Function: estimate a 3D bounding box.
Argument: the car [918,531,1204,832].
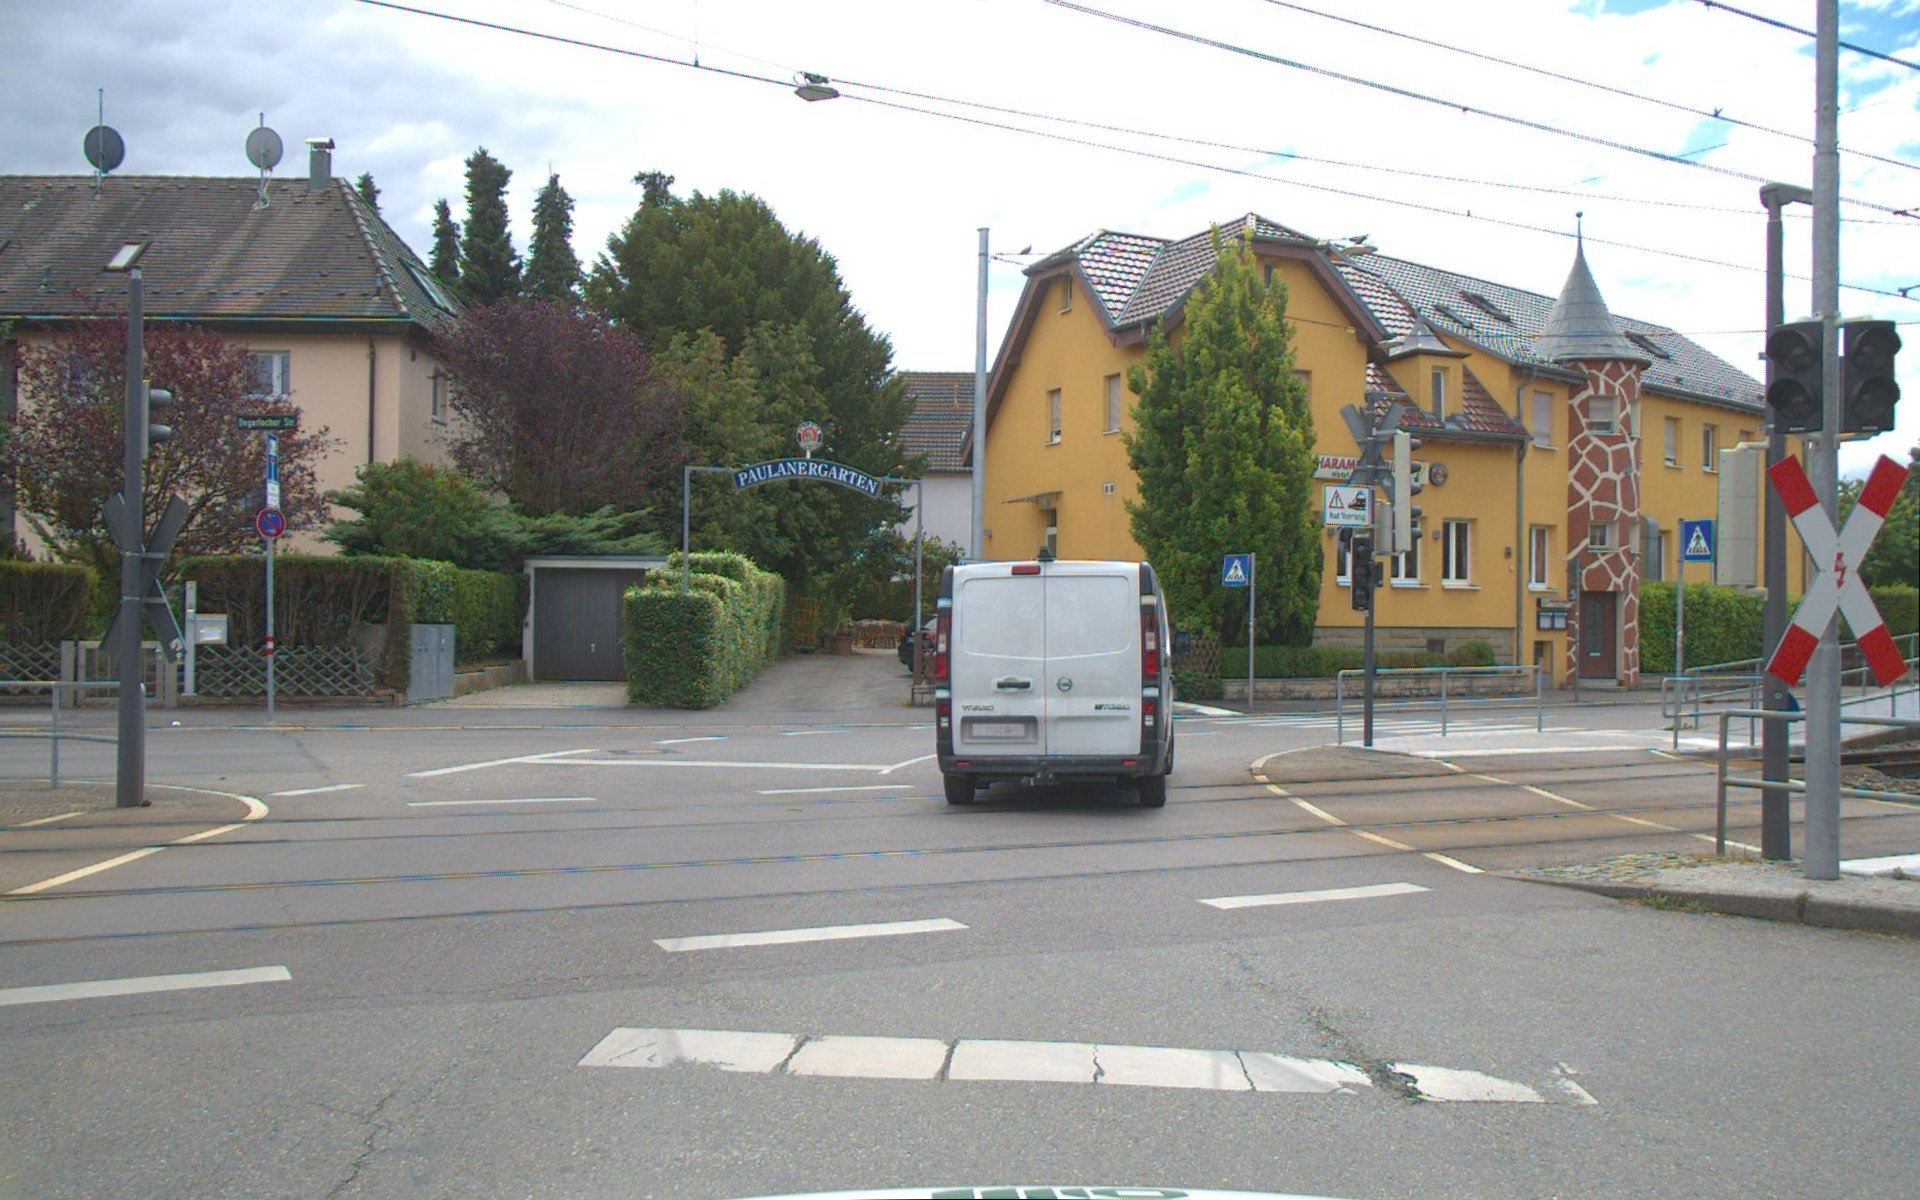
[{"bbox_3d":[1.029,0.610,14.983,2.072,2.171,5.444,1,0,6],"label":"car"}]

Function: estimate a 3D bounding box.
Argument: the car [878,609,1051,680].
[{"bbox_3d":[0.122,0.974,37.928,3.634,1.452,1.707,0,2,-34],"label":"car"}]
